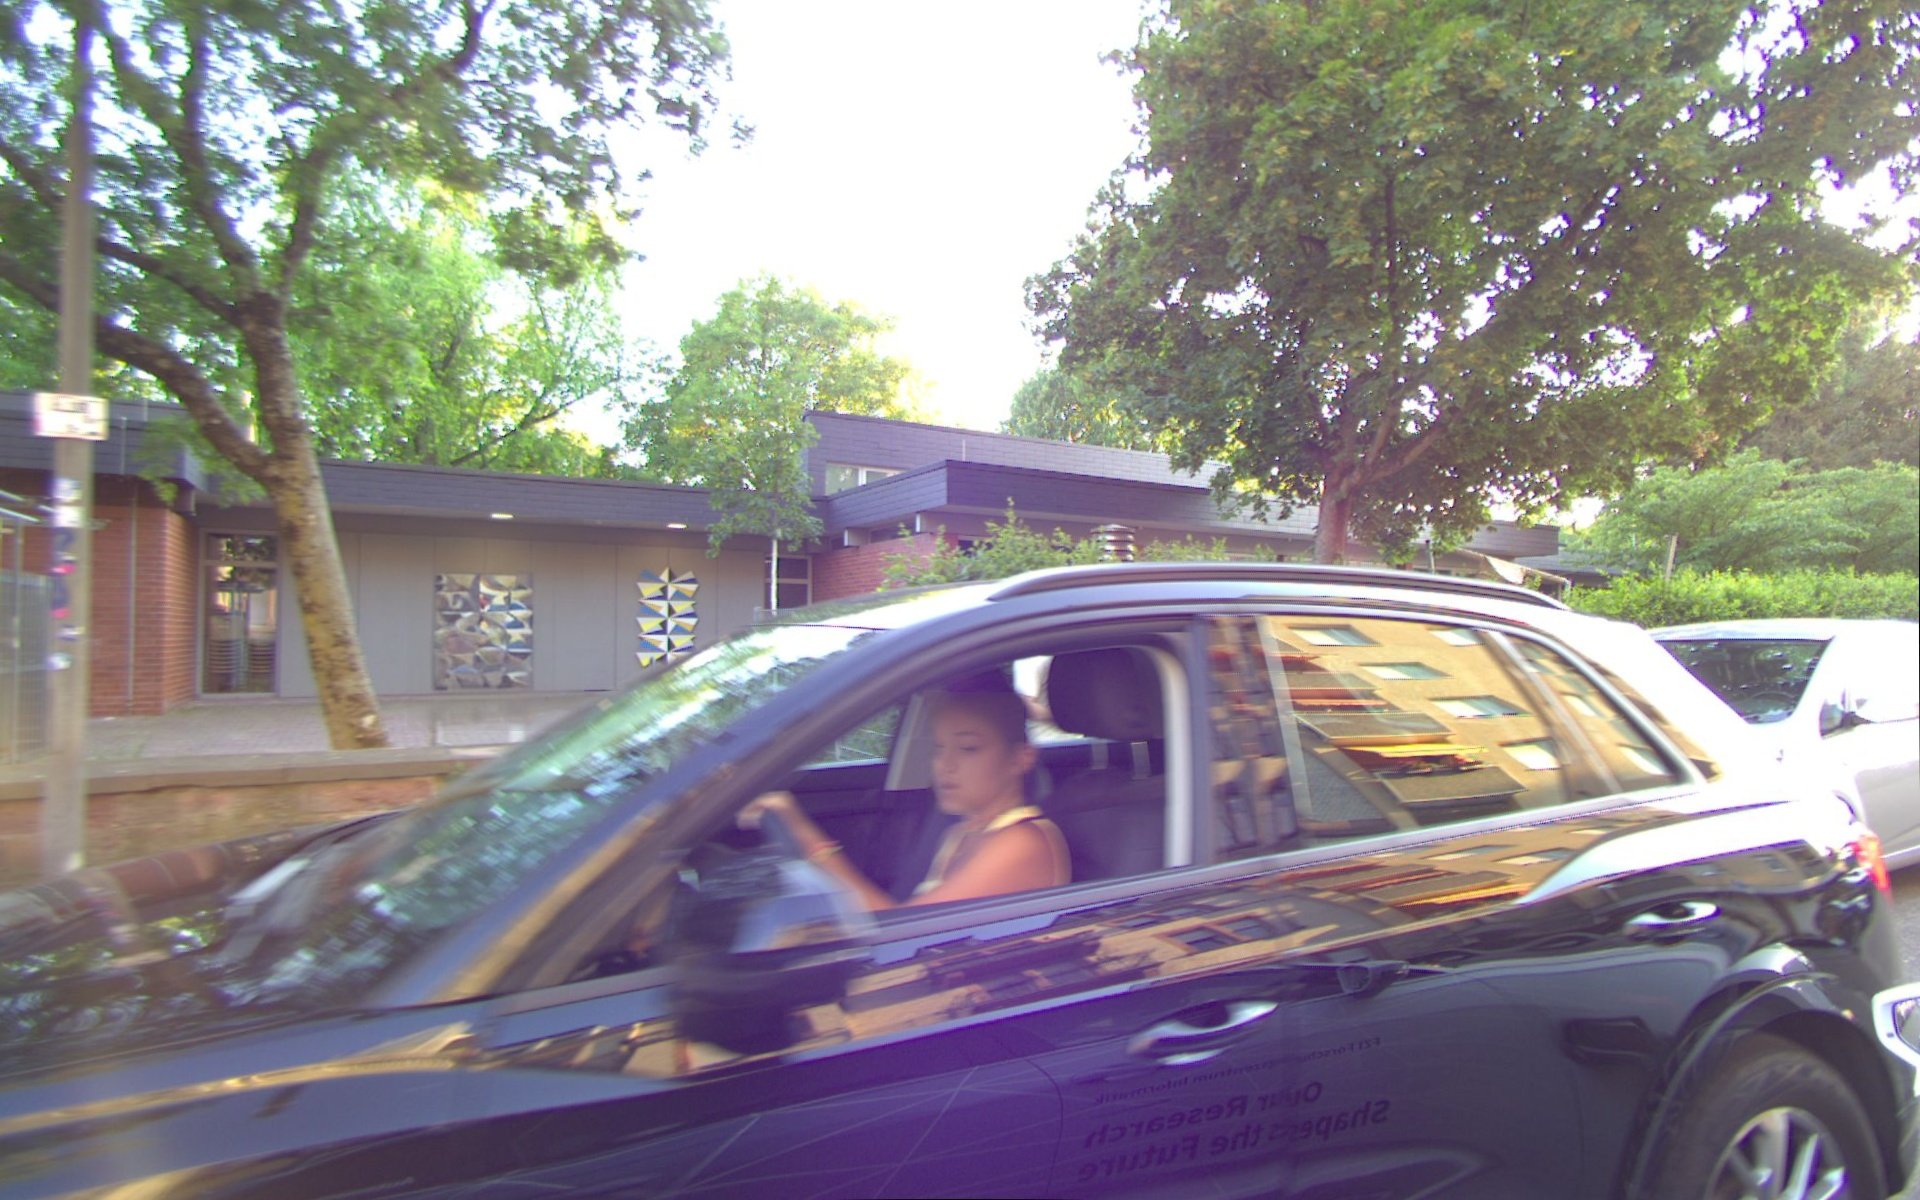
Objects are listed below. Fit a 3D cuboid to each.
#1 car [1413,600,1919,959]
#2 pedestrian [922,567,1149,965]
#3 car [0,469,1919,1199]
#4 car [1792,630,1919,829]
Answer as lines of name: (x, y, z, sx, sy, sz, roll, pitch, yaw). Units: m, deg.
car: (4.980, 0.922, 6.400, 3.951, 1.652, 1.776, 1, -4, -29)
pedestrian: (0.375, 0.784, 5.297, 0.778, 1.855, 0.933, 1, -1, -31)
car: (0.412, 0.758, 2.235, 4.500, 1.590, 1.800, 1, -2, -23)
car: (9.372, 1.064, 8.987, 4.056, 1.575, 1.845, 2, -3, -34)
